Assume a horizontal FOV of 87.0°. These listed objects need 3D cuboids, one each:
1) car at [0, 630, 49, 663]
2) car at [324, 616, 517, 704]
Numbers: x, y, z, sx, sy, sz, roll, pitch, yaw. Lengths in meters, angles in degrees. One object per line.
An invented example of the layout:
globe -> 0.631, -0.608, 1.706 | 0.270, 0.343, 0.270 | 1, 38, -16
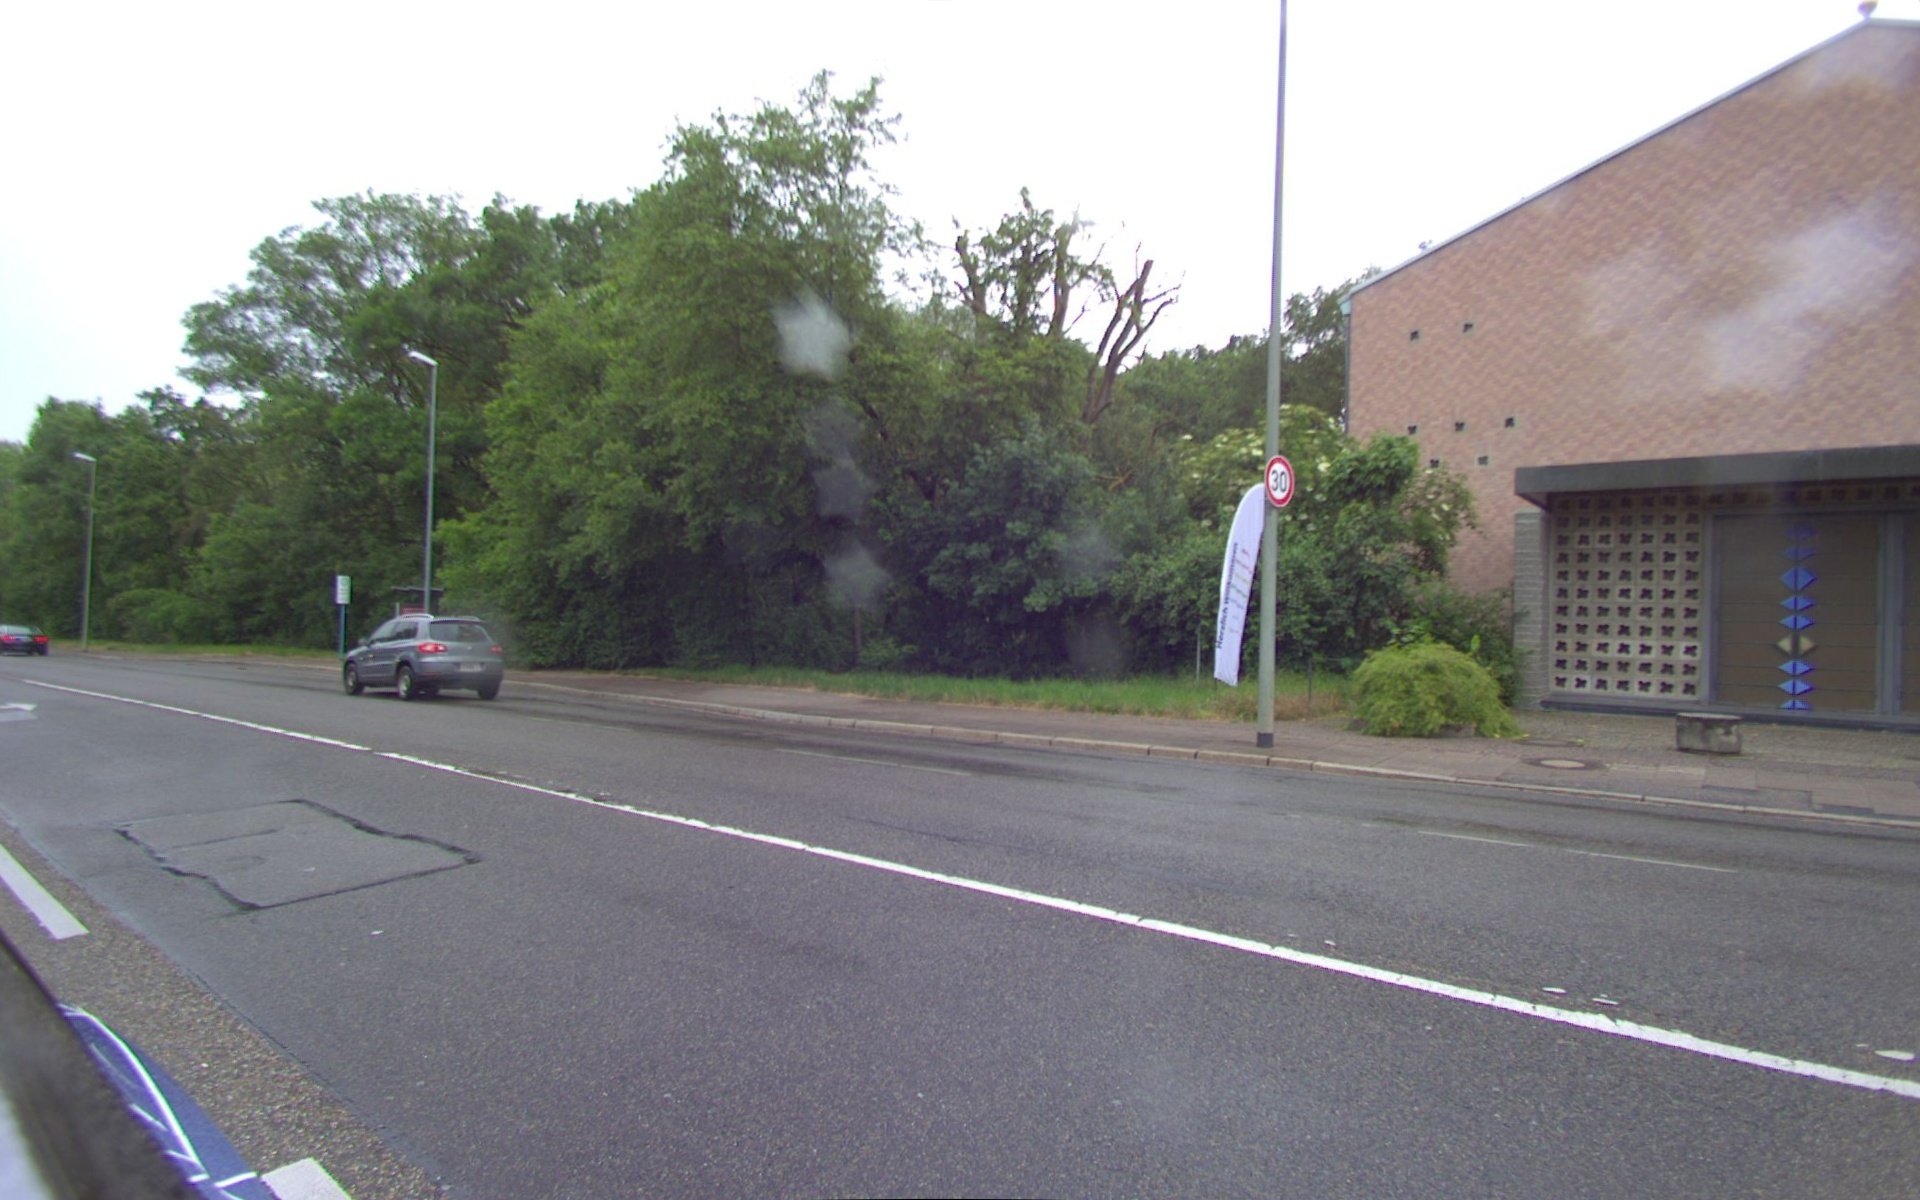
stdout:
car -> -46.242, 2.230, 49.374 | 4.944, 1.465, 1.891 | -1, -5, 40
car -> -11.113, 1.179, 20.744 | 4.312, 1.603, 1.890 | -1, -3, 38
